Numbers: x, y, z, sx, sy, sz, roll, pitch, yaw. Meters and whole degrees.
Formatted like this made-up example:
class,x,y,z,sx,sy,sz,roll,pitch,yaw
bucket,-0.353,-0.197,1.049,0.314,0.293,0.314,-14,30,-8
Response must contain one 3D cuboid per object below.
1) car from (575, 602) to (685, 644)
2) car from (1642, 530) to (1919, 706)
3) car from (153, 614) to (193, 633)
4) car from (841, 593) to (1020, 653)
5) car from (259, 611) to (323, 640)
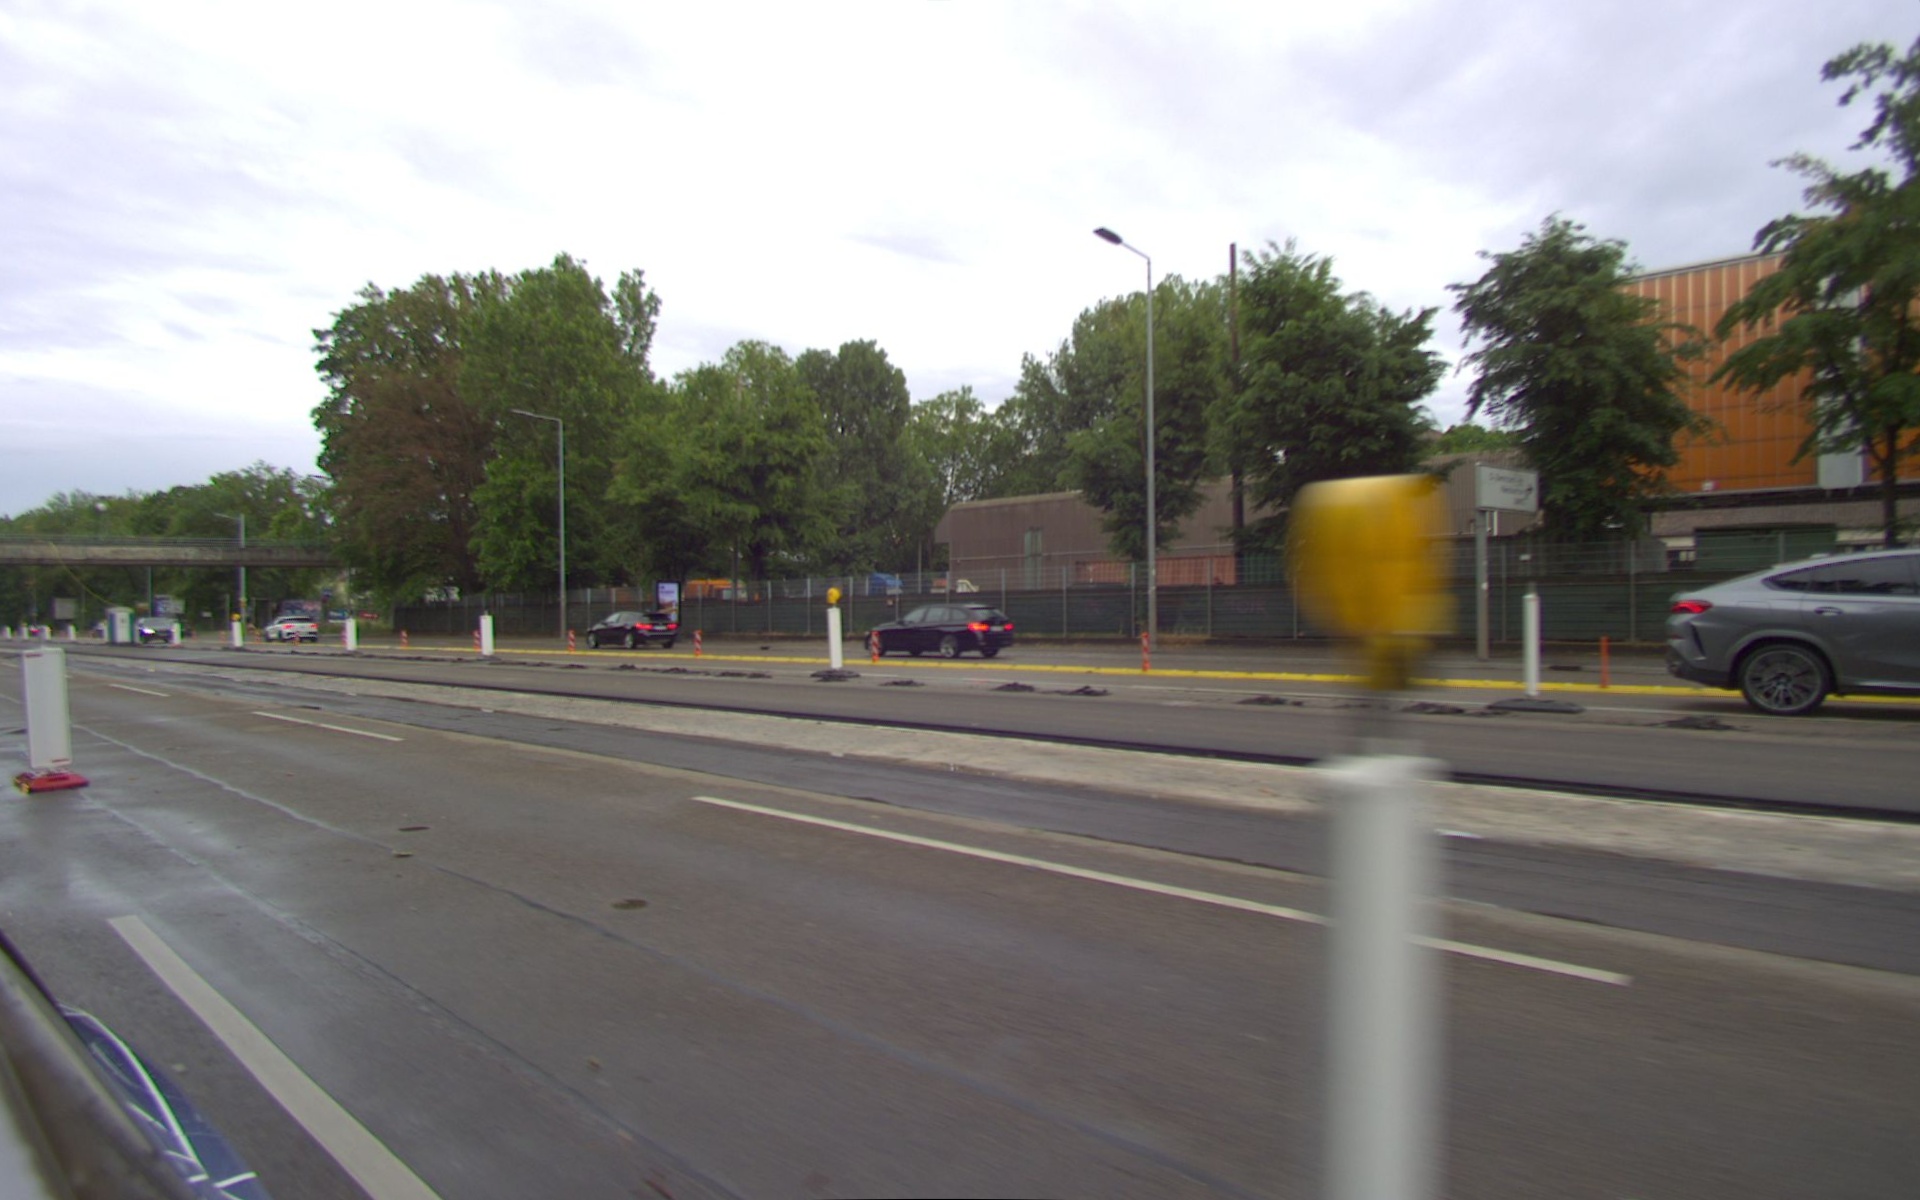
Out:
class,x,y,z,sx,sy,sz,roll,pitch,yaw
car,-12.450,0.877,38.066,4.262,1.440,1.973,-2,-1,40
car,9.835,0.142,9.882,5.053,1.625,2.055,-1,0,41
car,-68.011,2.040,87.484,4.303,1.529,1.973,-1,0,42
car,-0.878,0.612,27.490,4.763,1.465,2.025,-1,0,42
car,-37.946,1.476,57.377,4.264,1.524,1.972,-2,0,42
